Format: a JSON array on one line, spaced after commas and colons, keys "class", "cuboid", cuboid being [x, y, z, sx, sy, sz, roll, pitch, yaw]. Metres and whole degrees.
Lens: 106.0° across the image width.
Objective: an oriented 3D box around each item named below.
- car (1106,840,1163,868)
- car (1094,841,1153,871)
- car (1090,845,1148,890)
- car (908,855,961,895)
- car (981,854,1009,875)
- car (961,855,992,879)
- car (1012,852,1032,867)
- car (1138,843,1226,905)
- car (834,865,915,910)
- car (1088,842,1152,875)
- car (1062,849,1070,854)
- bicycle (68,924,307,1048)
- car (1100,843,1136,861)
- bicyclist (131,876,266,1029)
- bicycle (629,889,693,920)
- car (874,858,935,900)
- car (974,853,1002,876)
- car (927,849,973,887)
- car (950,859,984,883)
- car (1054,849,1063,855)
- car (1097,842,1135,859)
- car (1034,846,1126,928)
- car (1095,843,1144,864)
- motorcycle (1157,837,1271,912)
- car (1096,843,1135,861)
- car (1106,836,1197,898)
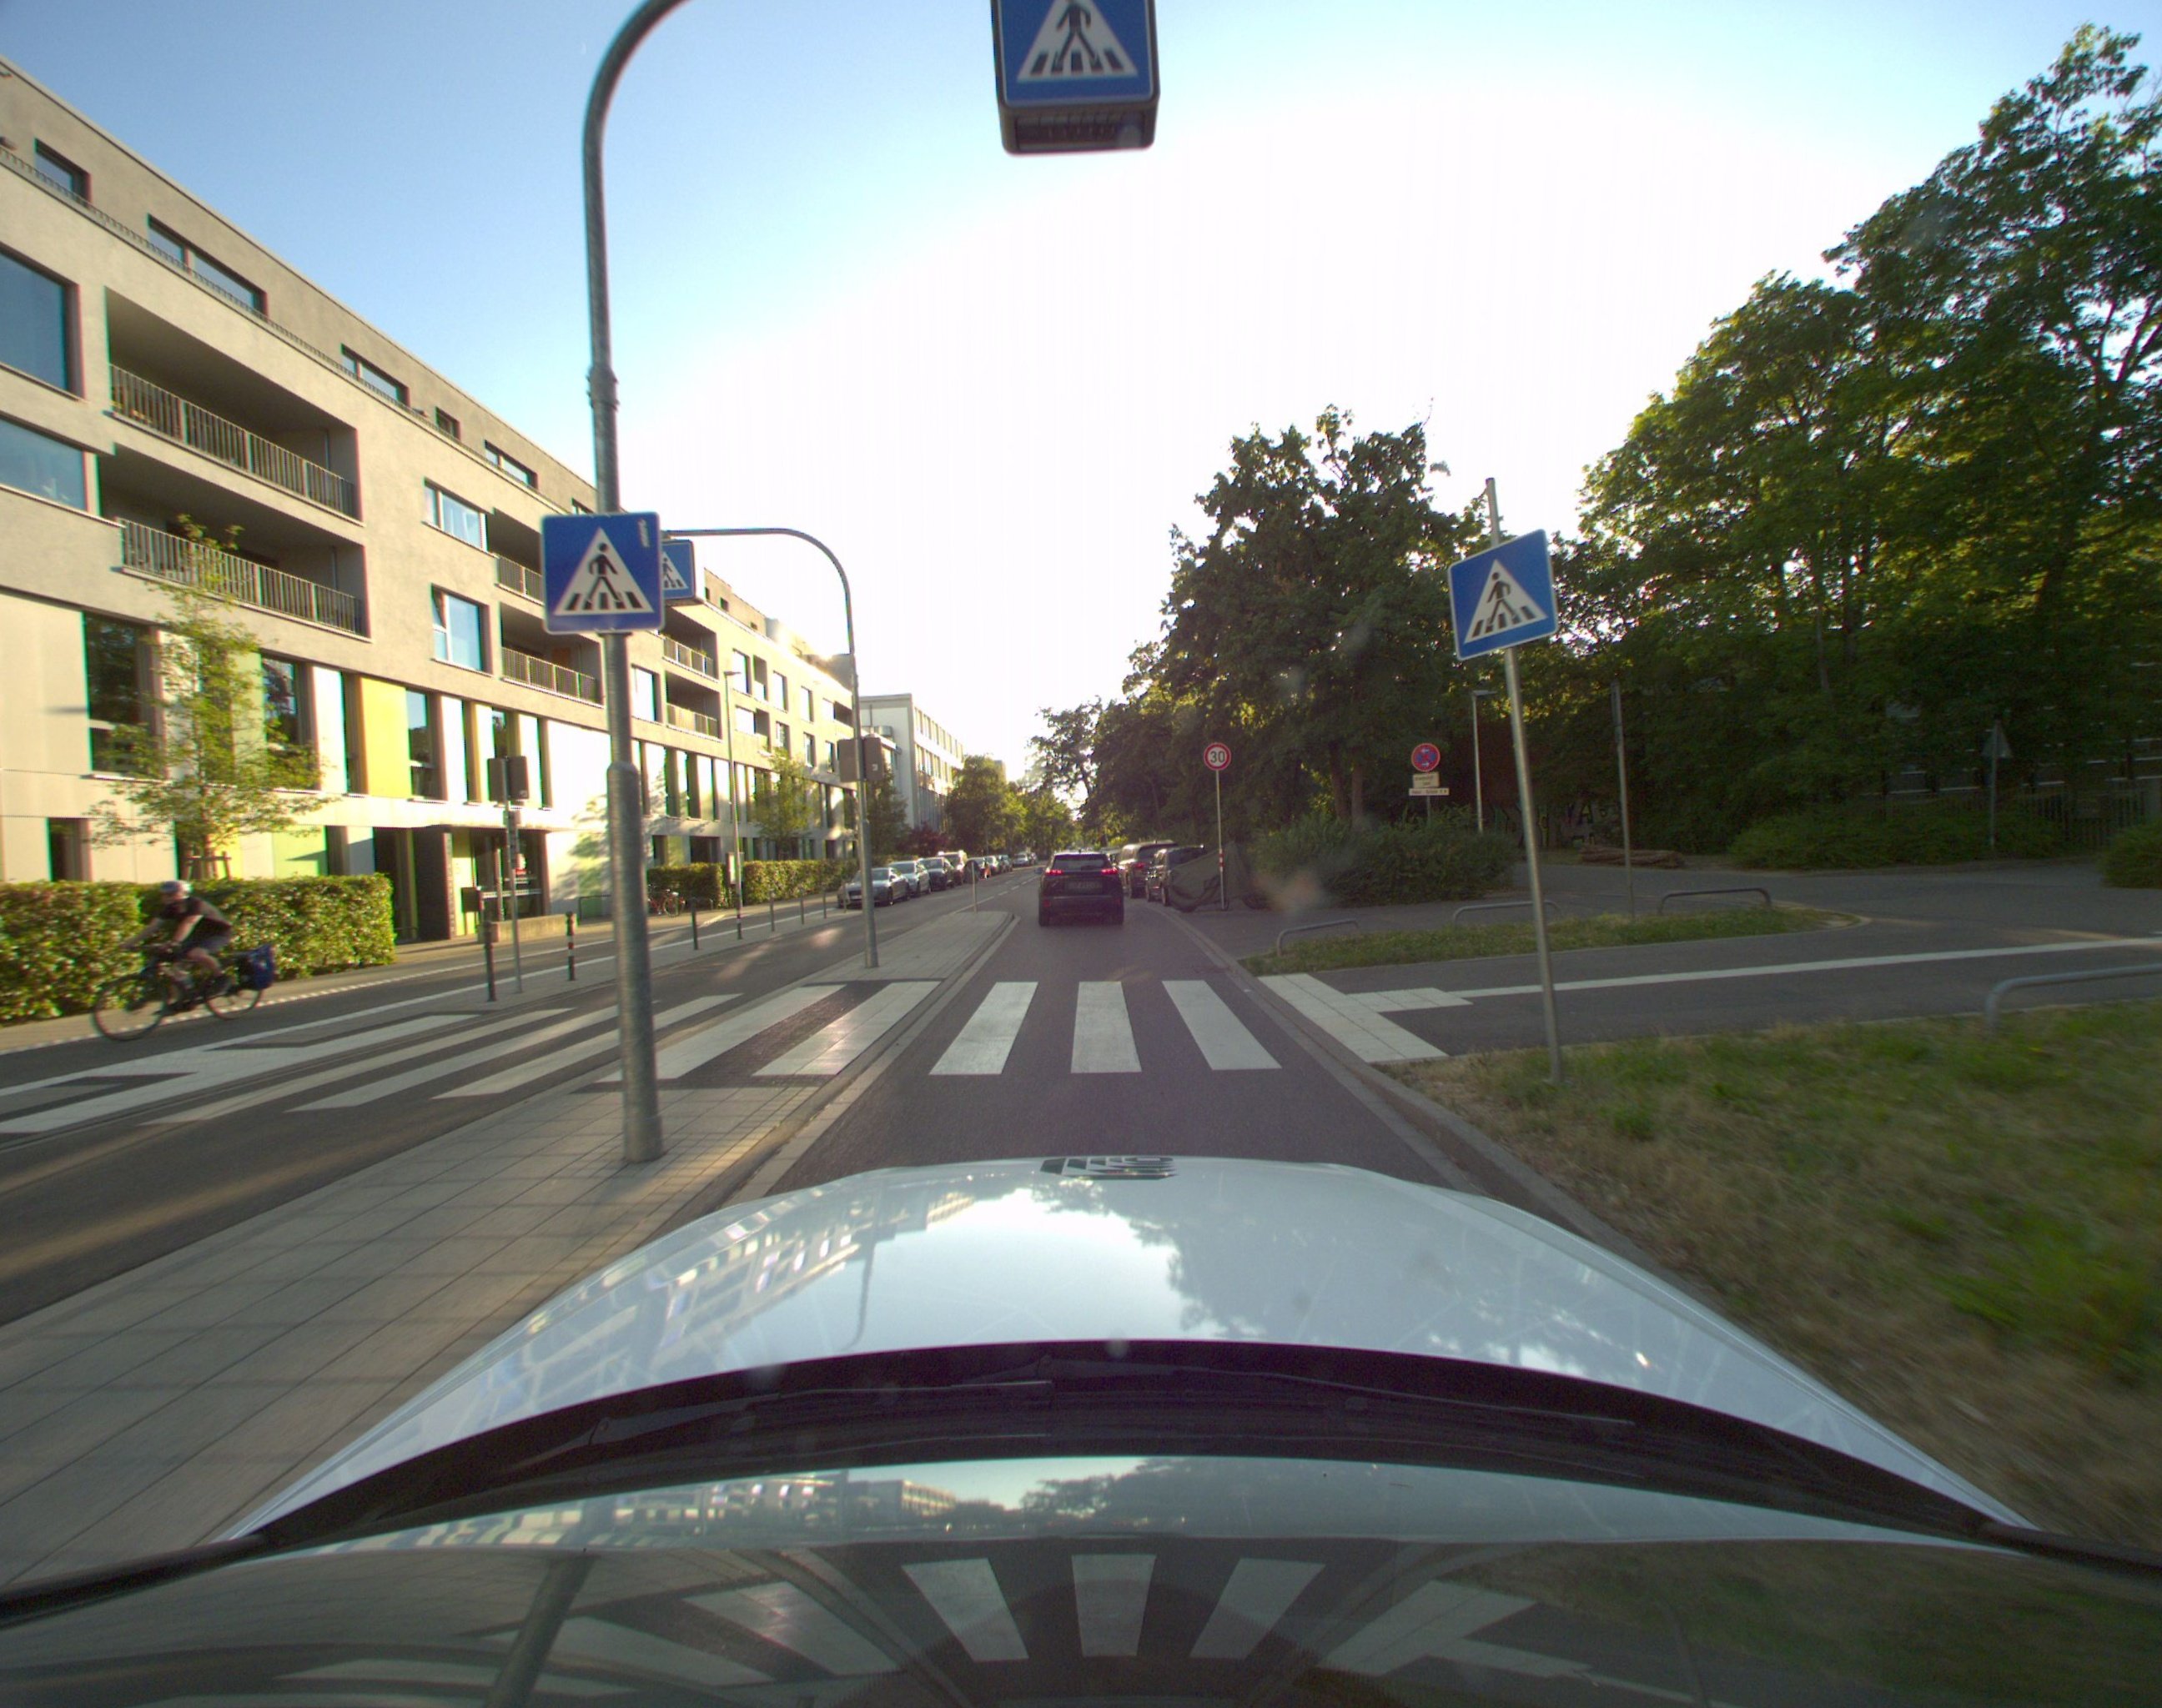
[{"class": "car", "cuboid": [3.709, -0.014, 56.810, 3.712, 1.498, 1.820, -7, 0, 1]}, {"class": "car", "cuboid": [2.812, 0.126, 54.152, 3.656, 1.552, 1.734, -7, 1, -1]}, {"class": "car", "cuboid": [1.469, 0.505, 32.969, 1.648, 1.567, 4.293, -4, 0, -5]}, {"class": "car", "cuboid": [-7.308, 1.004, 40.941, 1.736, 1.676, 4.416, -5, 1, 0]}, {"class": "car", "cuboid": [-7.042, 0.825, 66.970, 1.592, 1.507, 3.790, -5, 1, 3]}, {"class": "car", "cuboid": [-7.171, 0.863, 56.190, 1.593, 1.455, 3.861, -4, 0, 0]}, {"class": "car", "cuboid": [-6.437, 0.600, 89.201, 1.665, 1.493, 4.063, -4, 0, 1]}, {"class": "car", "cuboid": [2.714, 0.503, 22.583, 1.618, 1.486, 3.412, -4, 0, -6]}, {"class": "car", "cuboid": [-7.577, 1.181, 30.305, 1.736, 1.356, 4.397, -4, 0, 1]}, {"class": "car", "cuboid": [2.304, 0.266, 49.094, 3.600, 1.525, 1.671, -7, 1, -1]}, {"class": "car", "cuboid": [-4.054, -0.639, 218.249, 1.806, 1.354, 3.975, -4, 1, -3]}, {"class": "bicycle", "cuboid": [-10.266, 1.469, 9.483, 0.631, 1.078, 1.883, -4, 0, 0]}, {"class": "car", "cuboid": [3.874, -0.238, 85.820, 3.577, 1.566, 1.818, -5, -1, -1]}, {"class": "bicyclist", "cuboid": [-10.285, 1.118, 9.520, 0.624, 1.644, 0.758, -4, 0, 0]}, {"class": "bicycle", "cuboid": [-13.712, 1.647, 26.615, 1.746, 0.918, 0.617, -2, 0, -2]}, {"class": "car", "cuboid": [-7.581, 1.047, 35.368, 1.737, 1.533, 4.114, -4, 0, -1]}, {"class": "car", "cuboid": [-7.047, 0.775, 62.225, 1.593, 1.455, 4.054, -5, 1, 0]}, {"class": "car", "cuboid": [-7.375, 0.739, 46.358, 1.802, 1.889, 4.238, -5, 1, 0]}, {"class": "car", "cuboid": [-7.192, 1.042, 51.632, 1.551, 1.280, 3.732, -5, 1, 0]}, {"class": "car", "cuboid": [-4.979, -0.463, 178.161, 1.807, 1.354, 3.994, -4, 1, -4]}, {"class": "car", "cuboid": [3.972, -0.433, 93.038, 4.151, 1.710, 1.870, -3, 0, 4]}, {"class": "car", "cuboid": [-0.113, 0.647, 17.843, 1.765, 1.568, 3.376, -2, 0, -4]}, {"class": "car", "cuboid": [3.535, -0.060, 74.992, 4.322, 1.475, 1.743, -6, 1, 1]}, {"class": "motorcycle", "cuboid": [3.048, 0.466, 18.631, 2.270, 1.544, 1.046, -4, 0, 25]}, {"class": "car", "cuboid": [3.716, -0.266, 88.301, 4.108, 1.667, 1.723, -4, 0, 0]}, {"class": "car", "cuboid": [2.203, 0.385, 26.830, 1.921, 1.748, 4.653, -4, 0, -8]}]
